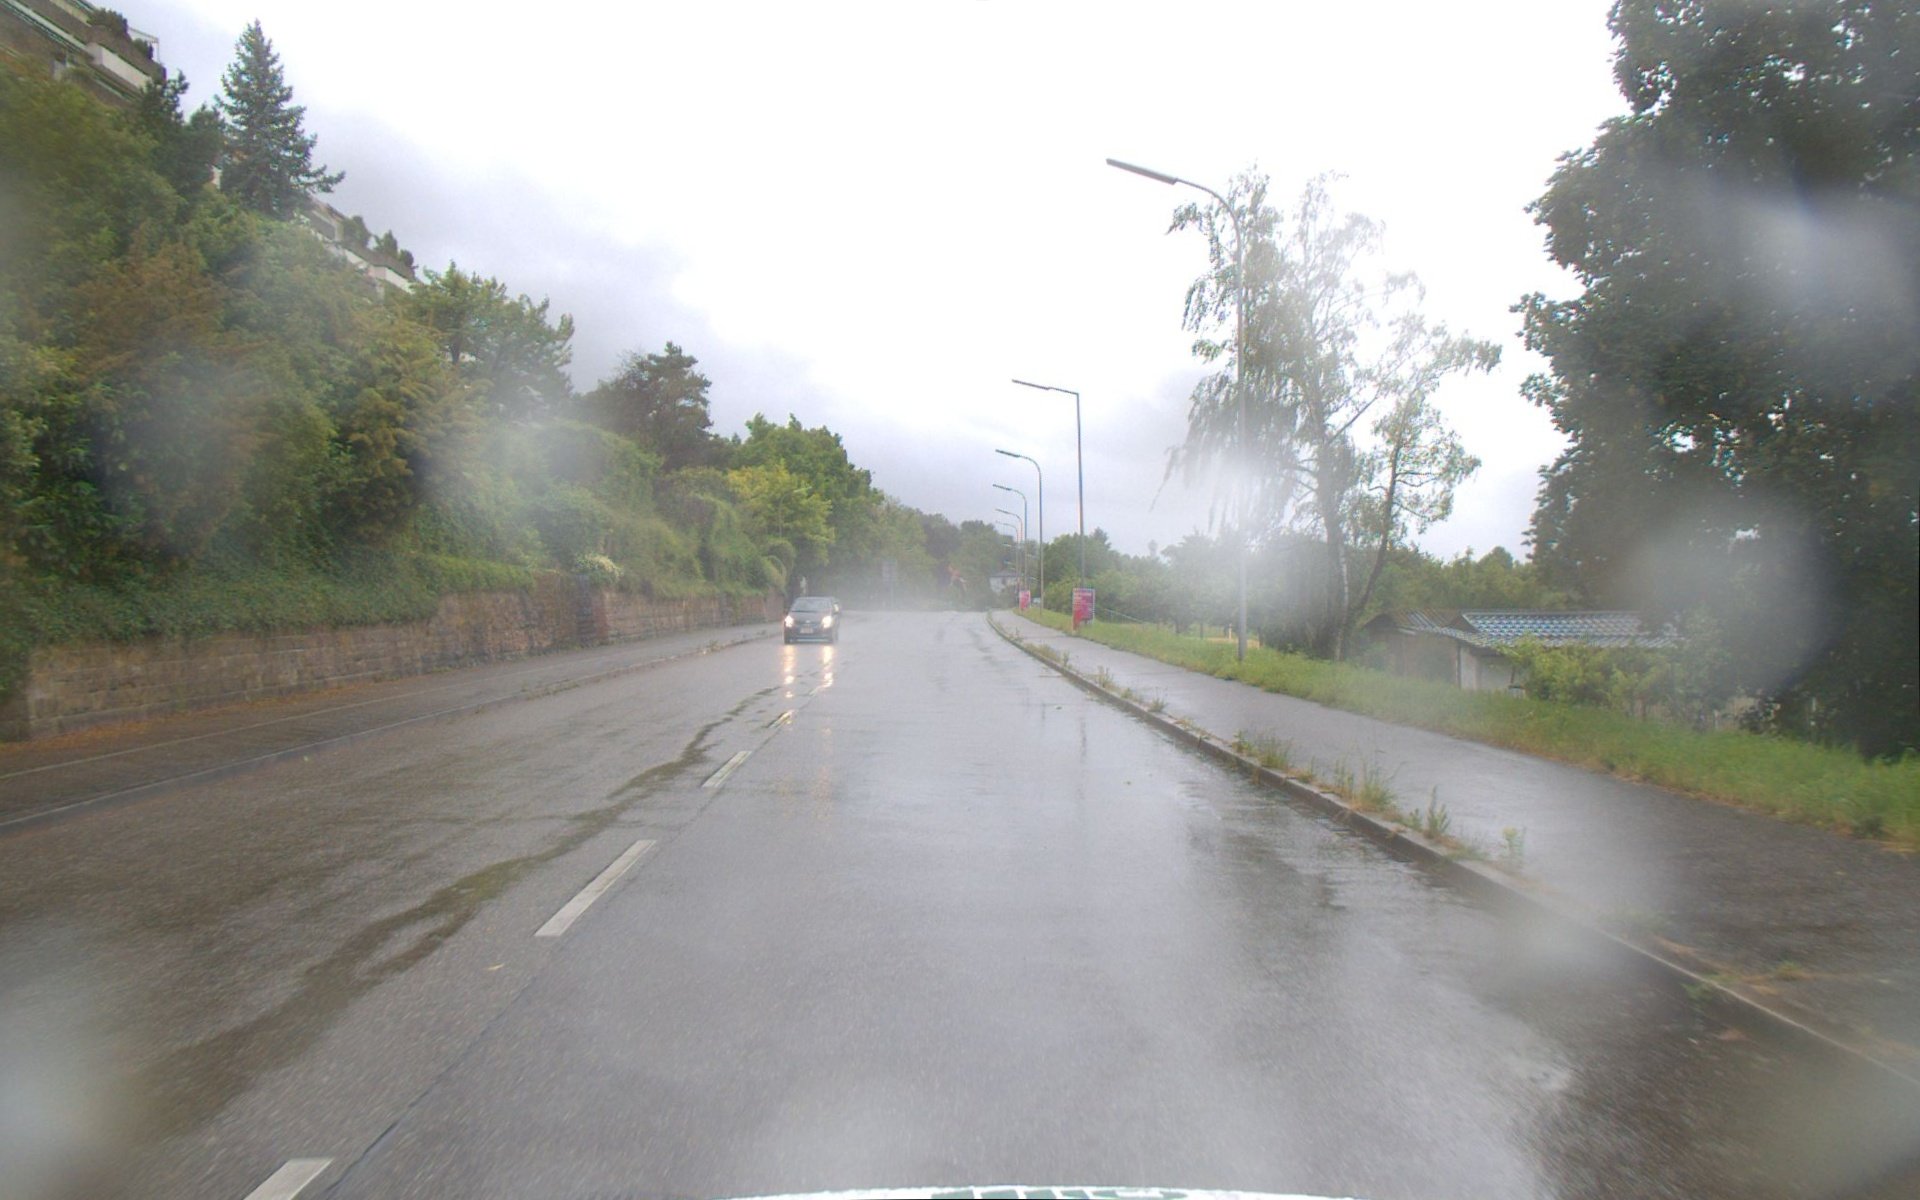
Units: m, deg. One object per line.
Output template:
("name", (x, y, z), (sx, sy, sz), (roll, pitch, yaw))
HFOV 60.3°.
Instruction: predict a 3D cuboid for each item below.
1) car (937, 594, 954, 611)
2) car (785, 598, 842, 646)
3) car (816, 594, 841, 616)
("car", (-1.806, 0.311, 204.899), (1.953, 2.049, 3.999), (0, 0, -1))
("car", (-4.917, 0.718, 56.025), (1.724, 1.522, 4.125), (-1, 0, -3))
("car", (-9.077, 0.341, 114.447), (1.693, 1.522, 3.984), (-1, 0, -4))
